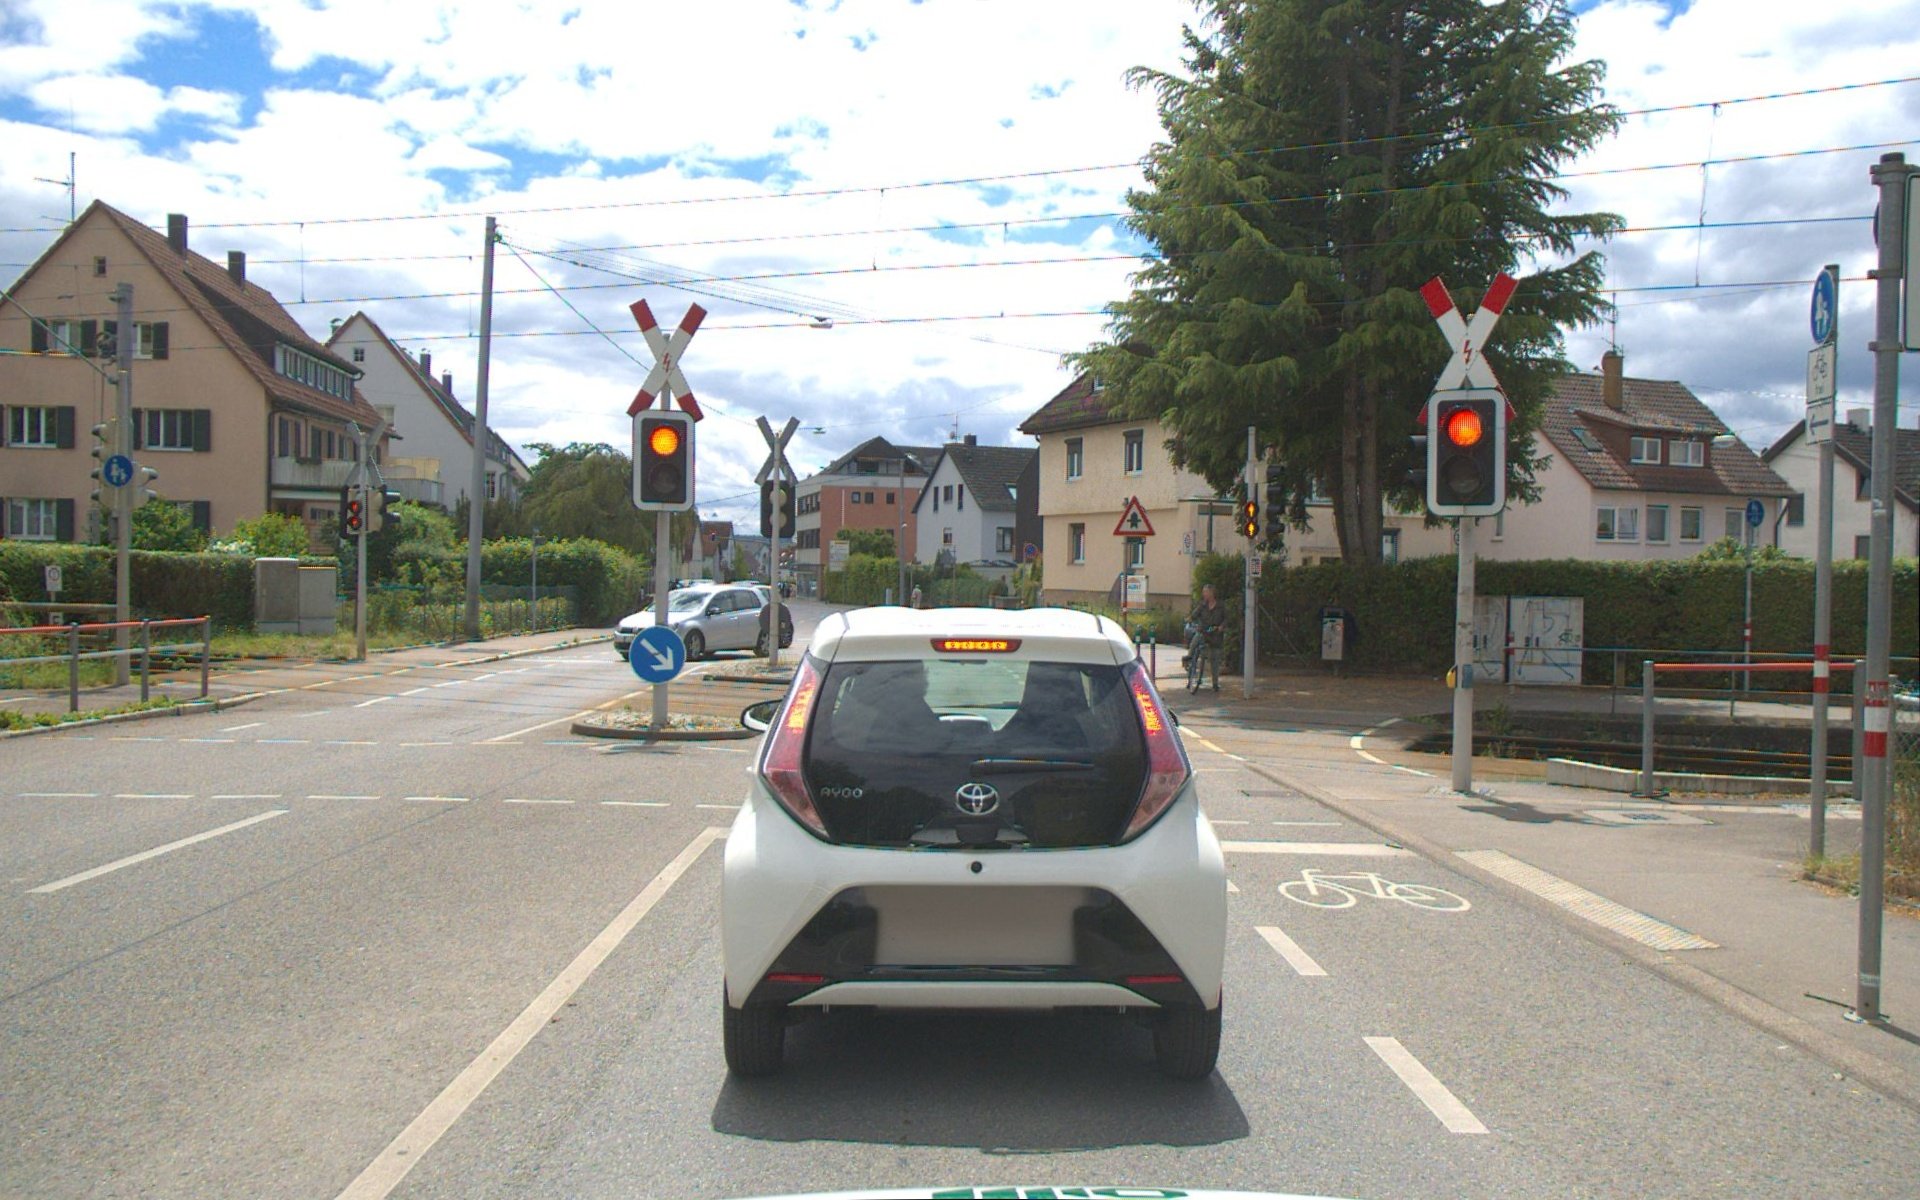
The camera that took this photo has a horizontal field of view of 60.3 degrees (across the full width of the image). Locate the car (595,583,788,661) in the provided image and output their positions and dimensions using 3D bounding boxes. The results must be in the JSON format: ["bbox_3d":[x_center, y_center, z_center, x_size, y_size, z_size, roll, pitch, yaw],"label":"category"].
[{"bbox_3d":[-5.509,0.456,34.437,1.868,1.466,4.093,2,0,27],"label":"car"}]

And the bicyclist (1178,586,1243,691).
[{"bbox_3d":[3.975,0.601,26.245,0.825,1.580,0.755,-2,3,-7],"label":"bicyclist"}]

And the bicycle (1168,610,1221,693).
[{"bbox_3d":[3.719,0.803,26.311,0.448,1.192,1.477,-2,3,-6],"label":"bicycle"}]

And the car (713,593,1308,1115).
[{"bbox_3d":[0.026,0.719,6.574,1.687,1.467,3.705,1,0,-4],"label":"car"}]

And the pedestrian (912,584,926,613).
[{"bbox_3d":[-2.339,-0.086,94.017,0.711,1.604,0.803,2,0,-1],"label":"pedestrian"}]

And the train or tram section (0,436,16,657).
[{"bbox_3d":[-25.414,-1.155,30.629,18.670,3.769,2.919,2,1,22],"label":"train or tram section"}]
